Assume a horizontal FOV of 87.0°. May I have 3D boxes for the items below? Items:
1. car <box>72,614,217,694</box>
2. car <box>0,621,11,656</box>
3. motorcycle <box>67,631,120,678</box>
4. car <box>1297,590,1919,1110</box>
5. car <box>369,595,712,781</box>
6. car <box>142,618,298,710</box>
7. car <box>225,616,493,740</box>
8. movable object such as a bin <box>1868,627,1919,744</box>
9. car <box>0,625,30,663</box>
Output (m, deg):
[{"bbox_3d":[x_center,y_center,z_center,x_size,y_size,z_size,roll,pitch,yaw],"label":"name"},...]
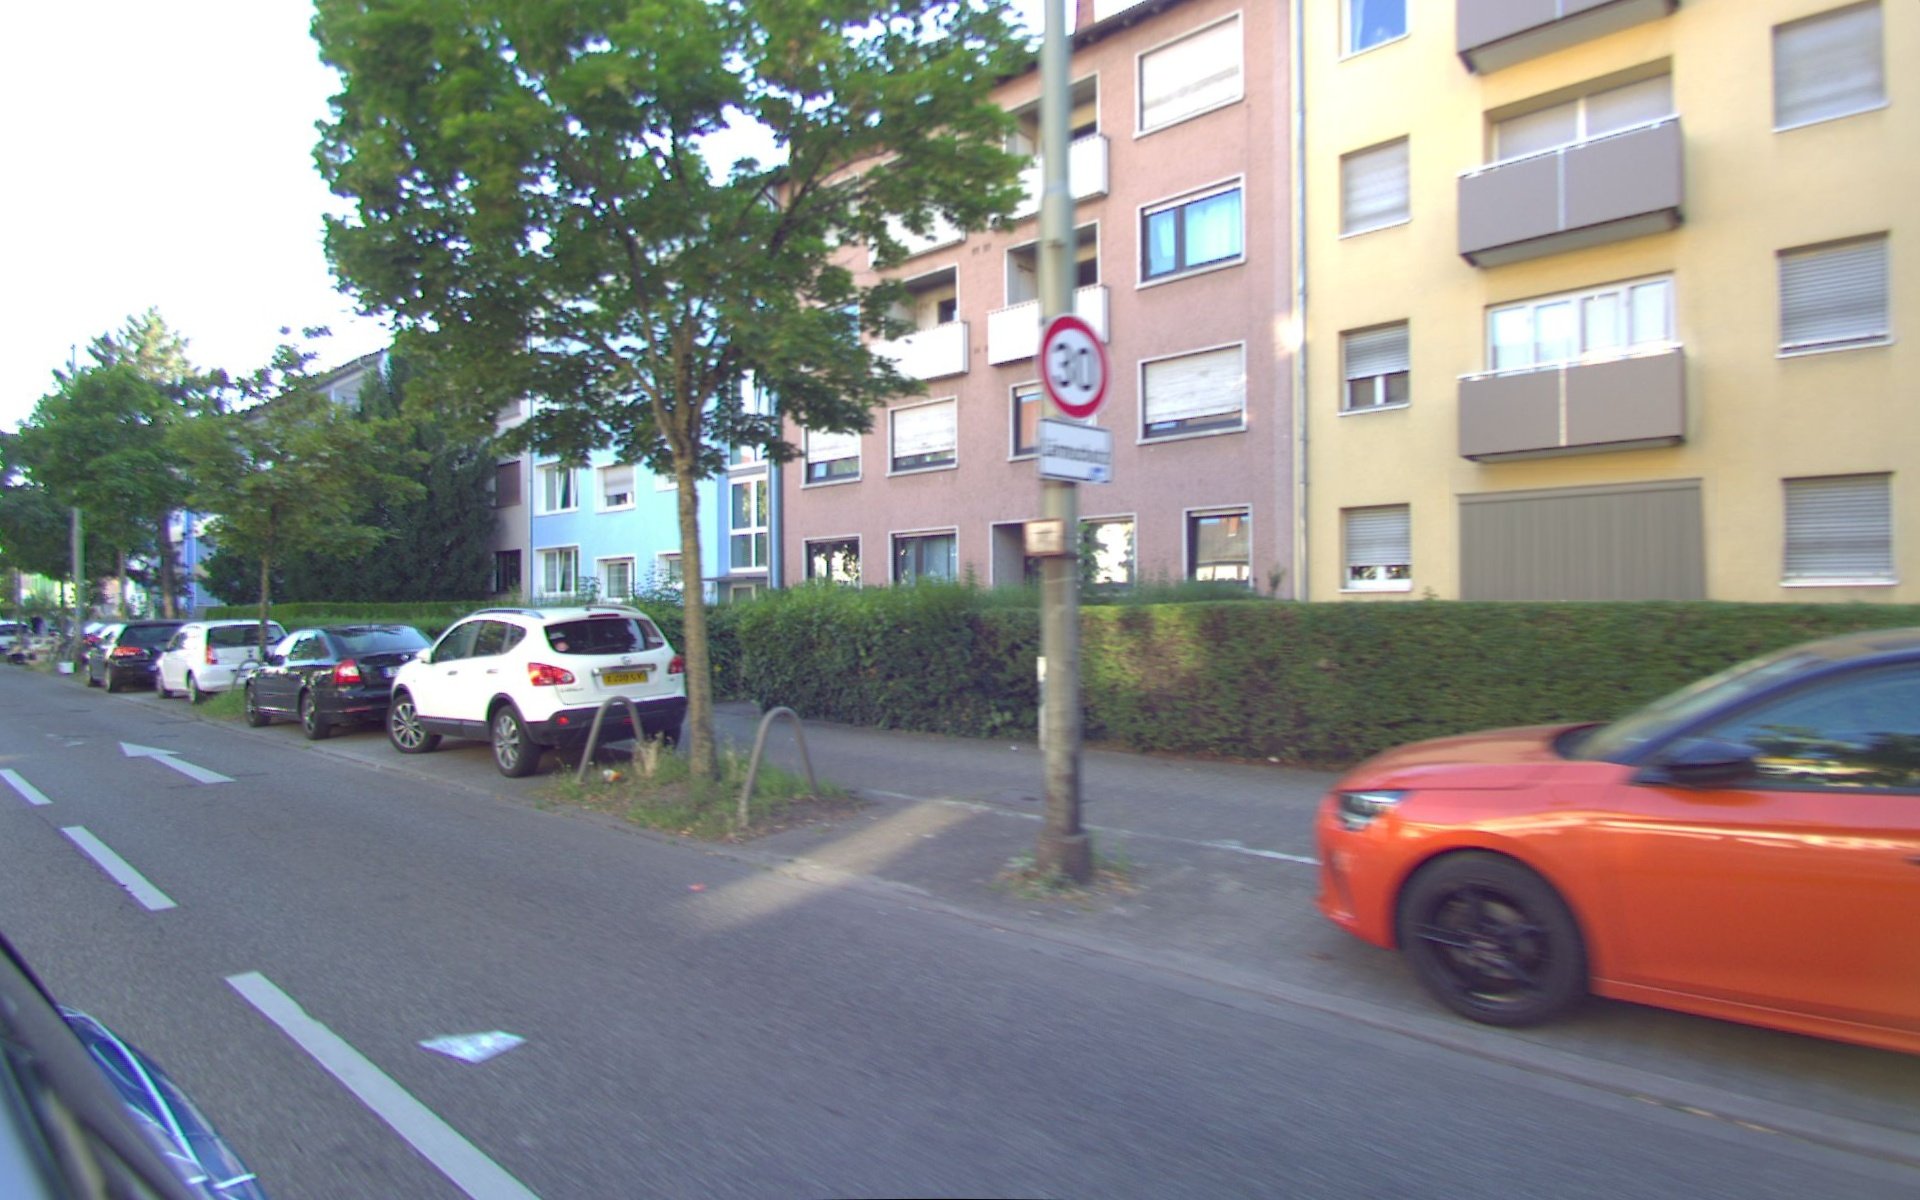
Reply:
[{"bbox_3d":[-18.046,1.115,22.318,4.314,1.529,1.818,-1,1,42],"label":"car"},{"bbox_3d":[-43.004,1.706,44.522,3.490,1.480,1.557,-2,0,43],"label":"car"},{"bbox_3d":[-22.836,1.420,26.664,2.170,1.145,0.632,-1,1,39],"label":"motorcycle"},{"bbox_3d":[3.403,0.706,3.431,3.921,1.462,1.699,-2,0,41],"label":"car"},{"bbox_3d":[-4.652,0.803,10.929,4.184,1.600,1.758,-1,0,42],"label":"car"},{"bbox_3d":[-14.026,1.124,19.121,3.639,1.503,1.575,0,1,41],"label":"car"},{"bbox_3d":[-8.587,0.974,14.306,4.456,1.459,1.973,-1,-1,41],"label":"car"},{"bbox_3d":[7.916,0.700,8.451,0.445,0.932,0.575,-1,-1,39],"label":"movable object such as a bin"},{"bbox_3d":[-39.065,1.769,41.063,3.881,1.454,1.662,-2,0,43],"label":"car"}]
